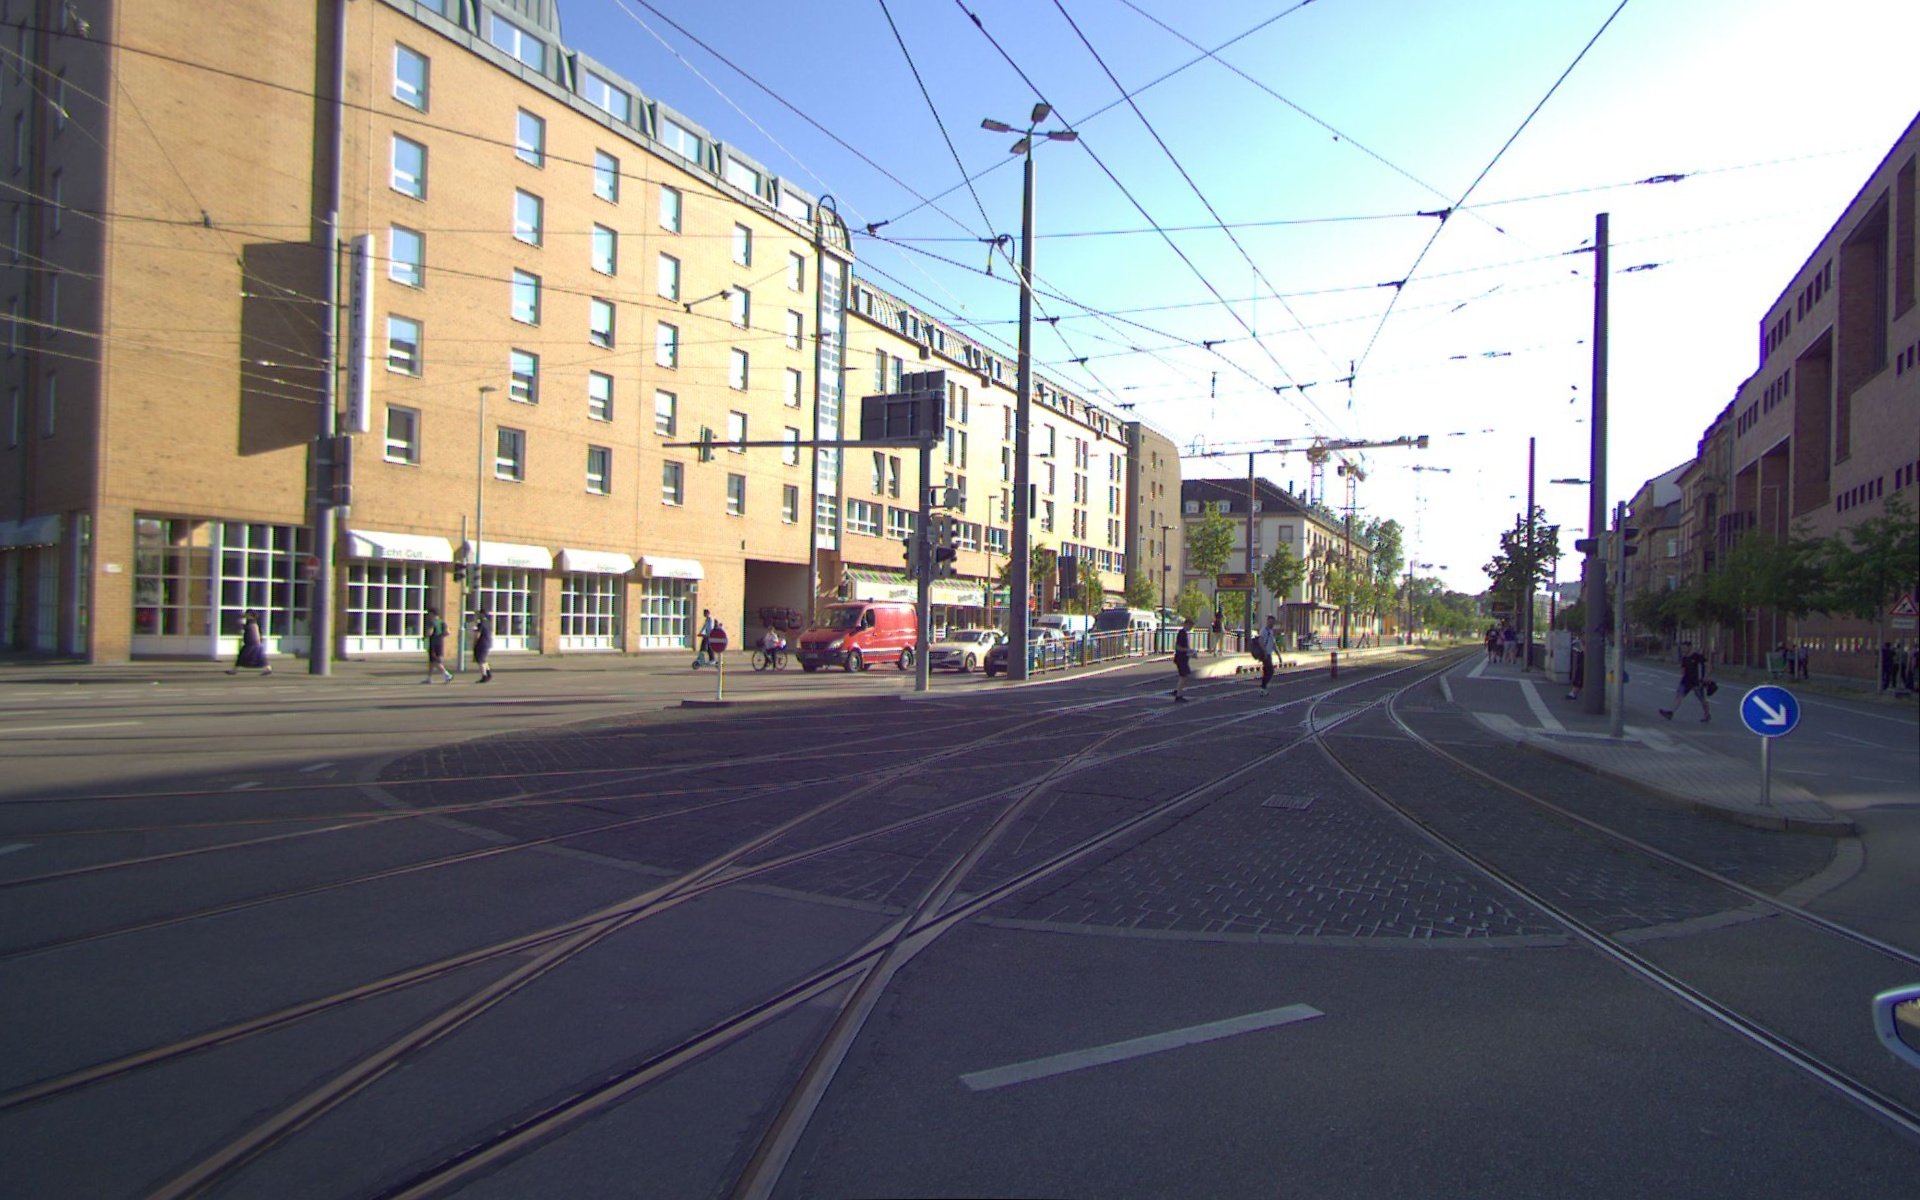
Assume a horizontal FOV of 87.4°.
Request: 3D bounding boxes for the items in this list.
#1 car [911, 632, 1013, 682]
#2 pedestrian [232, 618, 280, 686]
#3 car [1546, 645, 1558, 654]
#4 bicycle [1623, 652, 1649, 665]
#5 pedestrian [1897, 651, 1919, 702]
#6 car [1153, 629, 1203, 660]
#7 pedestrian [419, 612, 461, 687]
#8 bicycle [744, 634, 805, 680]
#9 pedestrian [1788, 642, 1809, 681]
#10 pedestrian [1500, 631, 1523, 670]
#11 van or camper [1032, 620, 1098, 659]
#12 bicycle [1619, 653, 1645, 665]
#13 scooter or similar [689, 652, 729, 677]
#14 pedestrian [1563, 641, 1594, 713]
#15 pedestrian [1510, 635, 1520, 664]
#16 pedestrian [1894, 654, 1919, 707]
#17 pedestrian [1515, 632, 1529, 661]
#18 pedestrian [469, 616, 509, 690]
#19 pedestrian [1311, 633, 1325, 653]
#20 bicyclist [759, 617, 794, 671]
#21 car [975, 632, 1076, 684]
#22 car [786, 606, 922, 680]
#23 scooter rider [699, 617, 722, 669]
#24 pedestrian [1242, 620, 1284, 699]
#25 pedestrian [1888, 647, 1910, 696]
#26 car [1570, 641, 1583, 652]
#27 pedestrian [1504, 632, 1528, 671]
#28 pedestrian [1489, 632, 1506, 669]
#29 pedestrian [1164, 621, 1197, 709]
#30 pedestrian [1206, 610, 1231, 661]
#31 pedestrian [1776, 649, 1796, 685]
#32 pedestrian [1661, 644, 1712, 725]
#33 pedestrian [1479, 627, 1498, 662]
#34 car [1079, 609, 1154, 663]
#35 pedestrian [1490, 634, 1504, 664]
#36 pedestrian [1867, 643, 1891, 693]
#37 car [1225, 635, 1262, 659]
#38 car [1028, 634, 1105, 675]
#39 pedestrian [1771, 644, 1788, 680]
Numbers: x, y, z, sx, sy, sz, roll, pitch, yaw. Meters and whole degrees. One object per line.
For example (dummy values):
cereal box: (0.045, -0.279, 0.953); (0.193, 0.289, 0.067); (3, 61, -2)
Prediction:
car: (0.137, 1.895, 34.366); (1.857, 1.553, 3.995); (1, -1, 27)
pedestrian: (-16.832, 1.236, 24.012); (0.862, 1.574, 0.540); (2, -1, -38)
car: (104.792, 8.741, 177.768); (1.823, 1.477, 4.148); (0, -1, 30)
bicycle: (60.354, 5.236, 89.632); (1.797, 1.078, 0.663); (-2, -2, 24)
pedestrian: (33.870, 2.713, 35.880); (0.530, 1.779, 0.692); (0, -2, 39)
car: (14.299, 2.856, 65.775); (1.859, 1.891, 4.306); (0, -1, 31)
pedestrian: (-12.232, 1.161, 23.631); (0.770, 1.740, 0.636); (2, -2, -33)
bicycle: (-6.305, 1.926, 34.220); (0.916, 1.461, 2.100); (1, -2, 28)
pedestrian: (38.870, 2.845, 46.568); (0.562, 1.736, 0.641); (1, -2, 24)
pedestrian: (24.029, 2.193, 43.772); (0.874, 1.694, 0.671); (1, -2, 28)
van or camper: (6.634, 2.420, 62.962); (1.964, 2.199, 5.604); (1, 0, 30)
bicycle: (59.308, 5.204, 88.653); (1.797, 1.078, 0.663); (-2, -2, 24)
scooter or similar: (-8.693, 2.224, 34.756); (1.230, 0.842, 0.538); (3, -2, -42)
pedestrian: (13.702, 1.696, 22.244); (0.484, 1.559, 0.548); (0, -2, 43)
pedestrian: (33.259, 2.955, 60.181); (0.497, 1.755, 0.650); (1, -1, 28)
pedestrian: (32.921, 2.770, 34.796); (0.689, 1.779, 0.727); (2, -2, -39)
pedestrian: (31.738, 2.638, 56.766); (0.663, 1.582, 0.905); (1, -2, 29)
pedestrian: (-11.402, 1.273, 24.309); (0.770, 1.740, 0.636); (2, -2, -33)
pedestrian: (21.975, 2.614, 61.587); (0.663, 1.205, 0.905); (1, -2, 29)
bicyclist: (-6.272, 1.507, 34.375); (0.803, 1.810, 0.815); (1, -2, 28)
car: (2.134, 1.769, 31.662); (1.730, 1.467, 3.995); (1, -1, 27)
car: (-3.499, 1.456, 34.309); (2.047, 2.319, 5.259); (1, -2, 27)
scooter rider: (-8.644, 1.500, 34.788); (0.567, 1.778, 0.527); (3, -2, -42)
pedestrian: (6.831, 1.331, 22.632); (0.631, 1.740, 0.775); (0, -2, 38)
pedestrian: (34.821, 2.635, 37.253); (0.528, 1.779, 0.421); (1, -1, 30)
car: (92.475, 6.955, 150.666); (1.614, 1.505, 4.202); (-2, -2, 31)
pedestrian: (25.011, 2.314, 45.200); (0.874, 1.694, 1.094); (1, -2, 27)
pedestrian: (24.950, 2.331, 46.610); (0.646, 1.694, 0.671); (1, -2, 27)
pedestrian: (4.475, 1.310, 20.410); (0.612, 1.724, 0.750); (1, -1, 10)
pedestrian: (8.840, 1.205, 34.363); (0.668, 1.706, 0.574); (1, -2, 34)
pedestrian: (38.155, 3.083, 46.414); (0.508, 1.626, 0.704); (1, -2, 23)
pedestrian: (14.571, 1.670, 20.171); (0.702, 1.559, 0.850); (1, -2, 28)
pedestrian: (23.464, 1.962, 44.604); (0.672, 1.503, 0.828); (1, -1, 27)
car: (7.552, 1.724, 48.000); (2.015, 2.389, 4.914); (1, -2, 28)
pedestrian: (32.291, 2.943, 60.361); (0.709, 1.755, 0.650); (1, -1, 29)
pedestrian: (33.914, 2.503, 37.070); (0.528, 1.779, 0.464); (1, -1, 28)
car: (26.035, 4.264, 92.141); (1.967, 2.040, 4.134); (0, -1, 35)
car: (4.471, 2.211, 41.610); (1.857, 1.553, 3.995); (1, -1, 27)
pedestrian: (40.542, 3.055, 49.709); (0.527, 1.779, 0.422); (1, -1, 15)
